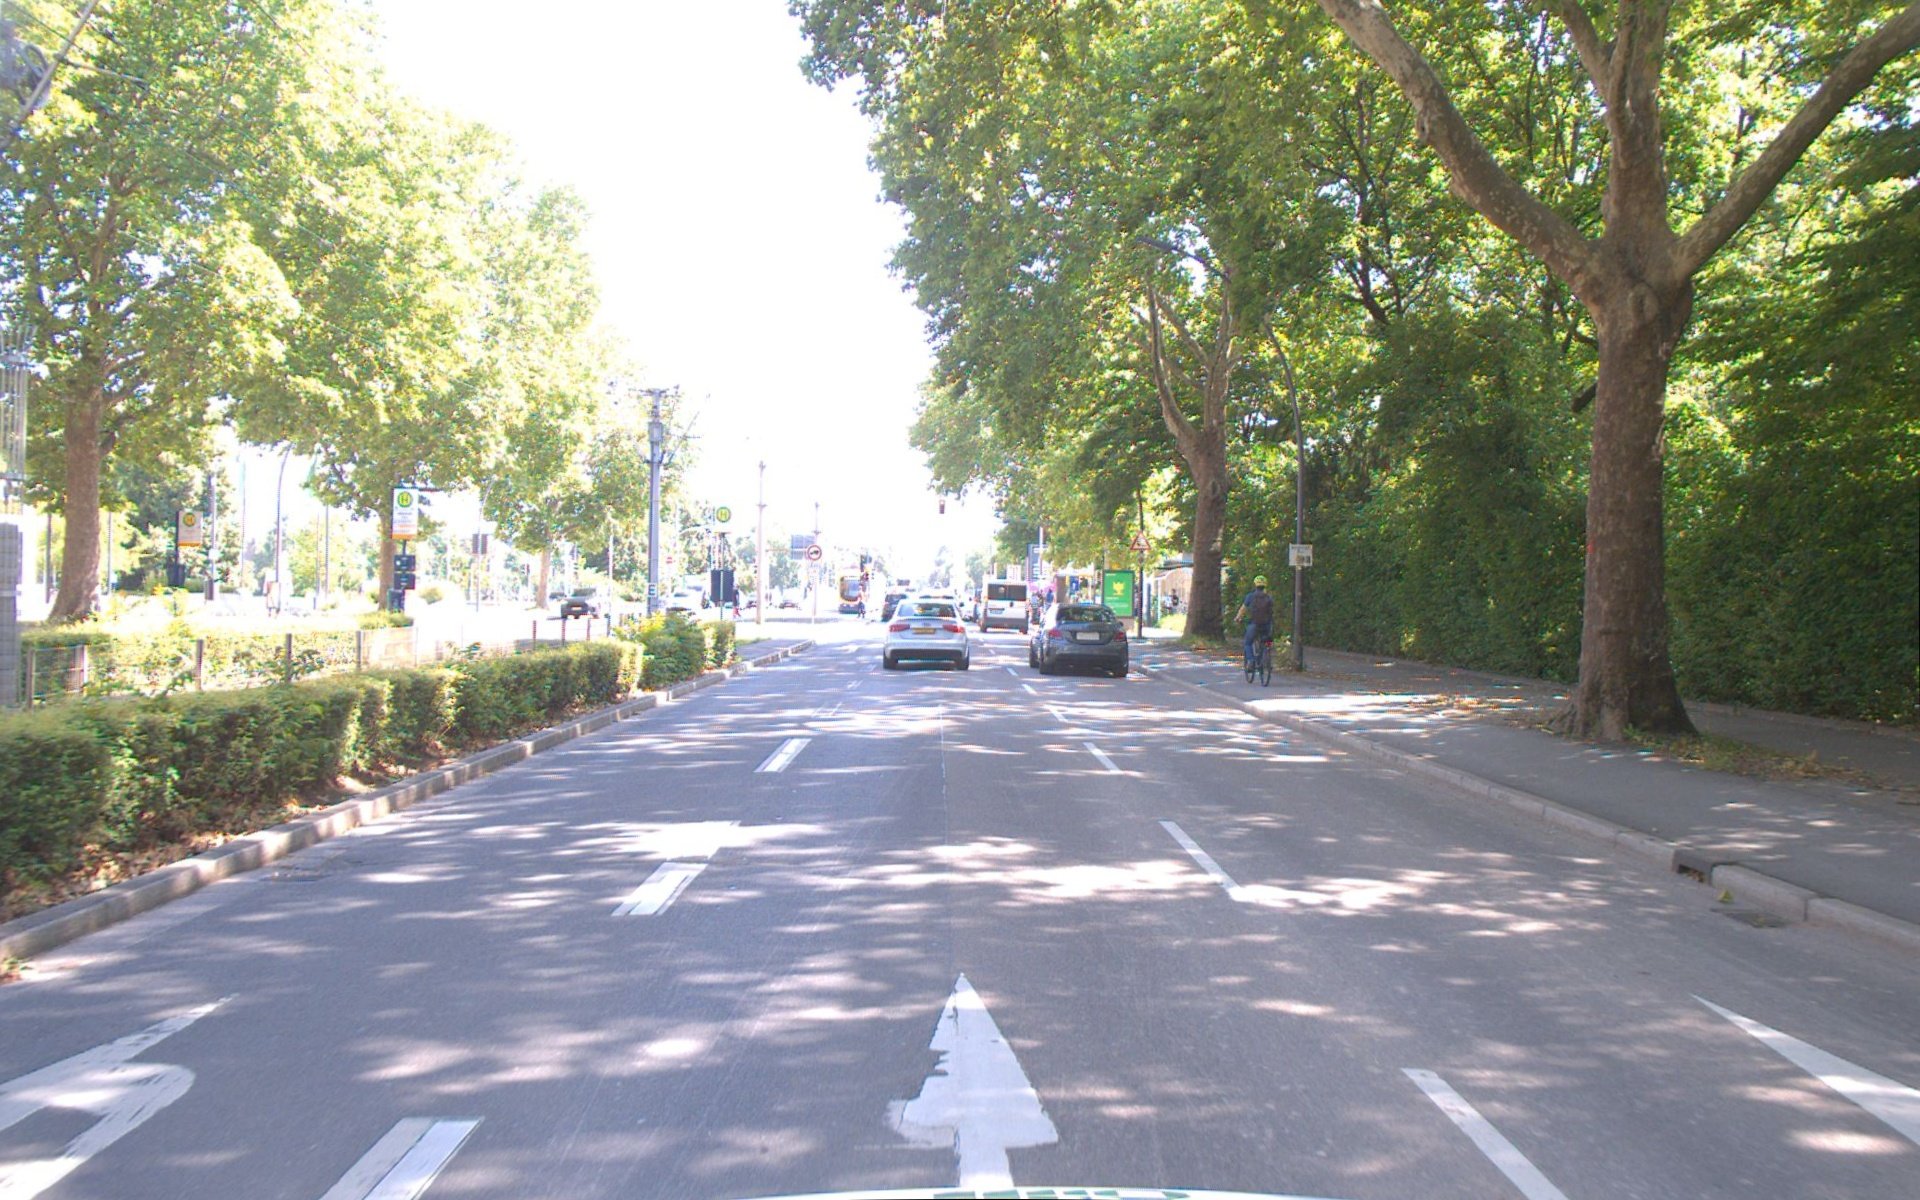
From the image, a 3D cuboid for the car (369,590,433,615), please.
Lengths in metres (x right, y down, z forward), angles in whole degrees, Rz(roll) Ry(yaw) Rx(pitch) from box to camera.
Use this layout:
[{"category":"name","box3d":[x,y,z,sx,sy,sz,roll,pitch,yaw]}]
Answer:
[{"category":"car","box3d":[-38.511,0.161,113.955,3.769,1.576,1.769,1,0,0]}]

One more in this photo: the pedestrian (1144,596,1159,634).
[{"category":"pedestrian","box3d":[9.666,0.746,83.577,0.601,1.929,0.694,1,0,-4]}]

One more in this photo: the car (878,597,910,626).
[{"category":"car","box3d":[-3.862,0.670,96.623,1.694,1.659,3.999,1,0,0]}]

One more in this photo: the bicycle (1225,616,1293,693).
[{"category":"bicycle","box3d":[5.138,0.912,28.560,0.700,1.168,2.178,-1,2,-1]}]

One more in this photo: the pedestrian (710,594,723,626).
[{"category":"pedestrian","box3d":[-12.806,0.523,86.908,0.580,1.675,0.554,1,-1,0]}]

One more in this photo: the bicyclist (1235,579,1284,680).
[{"category":"bicyclist","box3d":[5.132,0.500,28.399,0.621,1.676,0.979,-1,1,-2]}]

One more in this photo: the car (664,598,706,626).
[{"category":"car","box3d":[-16.136,0.701,97.111,1.774,1.590,4.303,1,0,-1]}]

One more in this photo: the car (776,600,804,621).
[{"category":"car","box3d":[-14.681,0.880,143.244,1.953,1.764,4.000,1,0,0]}]

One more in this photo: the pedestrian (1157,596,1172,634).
[{"category":"pedestrian","box3d":[10.327,0.755,83.514,0.601,1.929,0.597,1,0,-4]}]

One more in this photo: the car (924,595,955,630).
[{"category":"car","box3d":[-1.188,0.731,96.871,1.694,1.935,3.999,1,0,0]}]

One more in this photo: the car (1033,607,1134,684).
[{"category":"car","box3d":[2.510,0.899,34.393,1.746,1.445,3.999,1,0,-1]}]

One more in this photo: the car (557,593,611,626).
[{"category":"car","box3d":[-20.065,0.507,88.487,1.793,1.652,4.895,1,0,-1]}]

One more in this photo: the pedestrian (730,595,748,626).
[{"category":"pedestrian","box3d":[-12.494,0.599,93.582,0.758,1.764,0.755,1,-1,8]}]

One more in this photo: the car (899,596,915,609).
[{"category":"car","box3d":[-6.790,0.370,211.769,1.832,1.637,4.001,1,0,2]}]

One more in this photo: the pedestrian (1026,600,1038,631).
[{"category":"pedestrian","box3d":[4.089,0.892,94.257,0.590,1.724,0.953,-1,0,0]}]

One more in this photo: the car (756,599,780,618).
[{"category":"car","box3d":[-18.007,0.796,155.081,1.727,1.637,3.860,1,0,0]}]

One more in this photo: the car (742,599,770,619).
[{"category":"car","box3d":[-17.631,0.800,142.994,1.833,1.637,4.000,1,0,0]}]

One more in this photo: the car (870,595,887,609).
[{"category":"car","box3d":[-10.381,0.255,211.790,1.832,1.637,4.001,1,0,2]}]

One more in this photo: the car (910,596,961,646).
[{"category":"car","box3d":[-0.856,0.721,58.323,1.694,1.633,3.884,1,0,0]}]

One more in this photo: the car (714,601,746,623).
[{"category":"car","box3d":[-17.185,0.893,123.604,1.760,1.515,4.385,1,0,0]}]

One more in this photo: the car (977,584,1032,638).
[{"category":"car","box3d":[1.888,0.467,71.877,2.184,2.250,4.161,1,0,-1]}]

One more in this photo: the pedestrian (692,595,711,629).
[{"category":"pedestrian","box3d":[-12.872,0.595,82.415,0.748,1.651,0.590,2,-1,-26]}]

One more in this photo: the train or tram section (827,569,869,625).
[{"category":"train or tram section","box3d":[-8.452,-0.210,125.934,2.563,4.085,7.748,1,0,0]}]

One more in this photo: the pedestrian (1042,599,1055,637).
[{"category":"pedestrian","box3d":[4.715,0.941,87.821,0.622,1.980,0.719,1,-1,0]}]

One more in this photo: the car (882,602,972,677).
[{"category":"car","box3d":[-0.665,0.789,34.830,1.748,1.445,3.884,1,0,-1]}]

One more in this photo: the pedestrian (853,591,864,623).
[{"category":"pedestrian","box3d":[-6.344,0.437,103.646,0.611,1.952,0.689,1,-1,0]}]

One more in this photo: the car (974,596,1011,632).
[{"category":"car","box3d":[1.900,0.822,97.642,2.030,2.034,4.057,1,0,-1]}]
